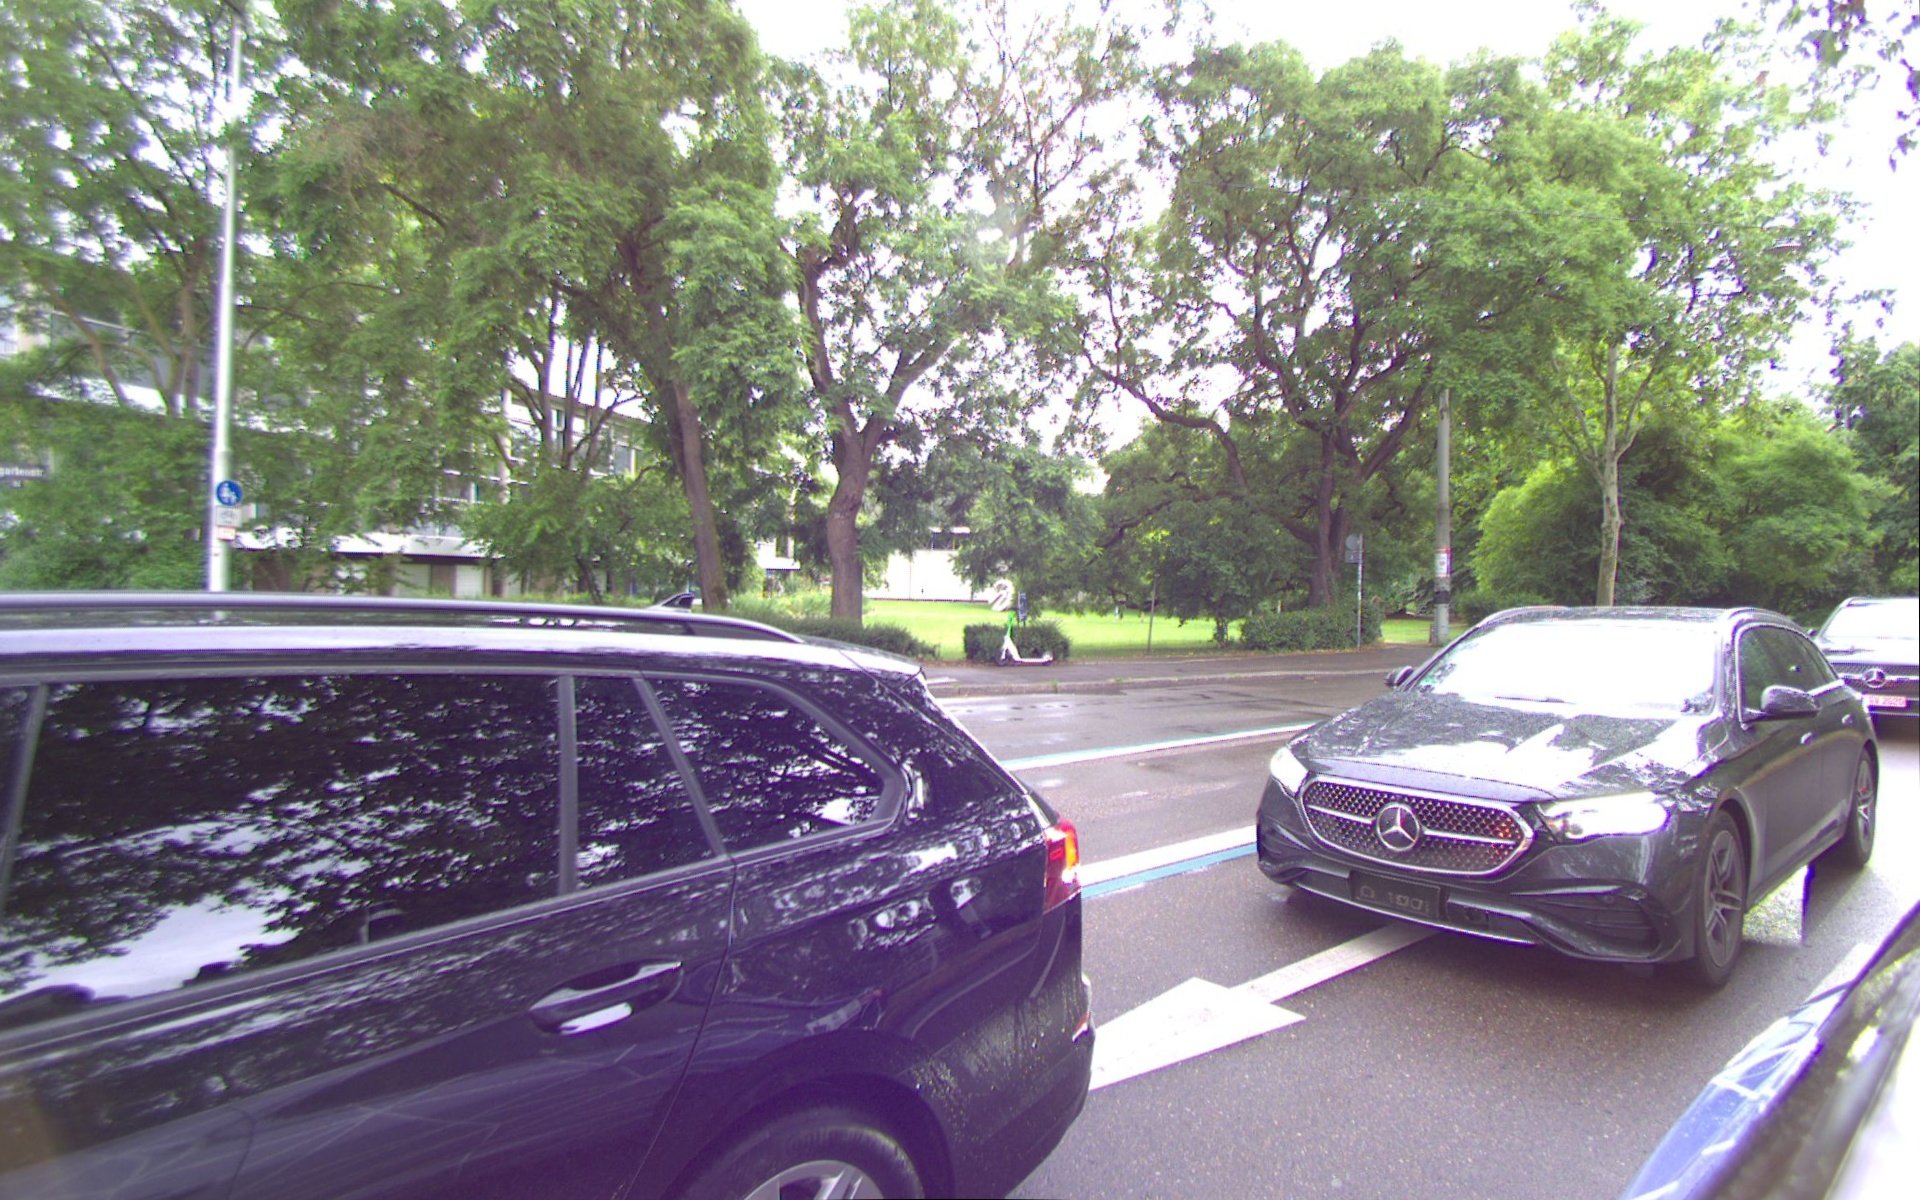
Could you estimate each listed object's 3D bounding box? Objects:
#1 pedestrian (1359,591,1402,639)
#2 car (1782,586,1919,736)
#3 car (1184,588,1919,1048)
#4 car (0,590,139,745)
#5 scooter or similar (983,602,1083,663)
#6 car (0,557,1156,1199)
[{"bbox_3d":[14.839,0.523,35.733,1.038,1.626,1.071,-1,0,1],"label":"pedestrian"},{"bbox_3d":[12.129,0.680,12.551,4.489,1.628,1.835,1,-1,-35],"label":"car"},{"bbox_3d":[3.503,0.700,5.499,4.841,1.464,1.883,0,-1,-39],"label":"car"},{"bbox_3d":[-11.085,0.621,9.925,4.311,1.468,1.872,0,0,-19],"label":"car"},{"bbox_3d":[1.439,0.646,19.970,1.851,1.114,0.559,2,2,-19],"label":"scooter or similar"},{"bbox_3d":[-1.749,0.684,1.424,4.435,1.484,1.672,1,0,-43],"label":"car"}]
